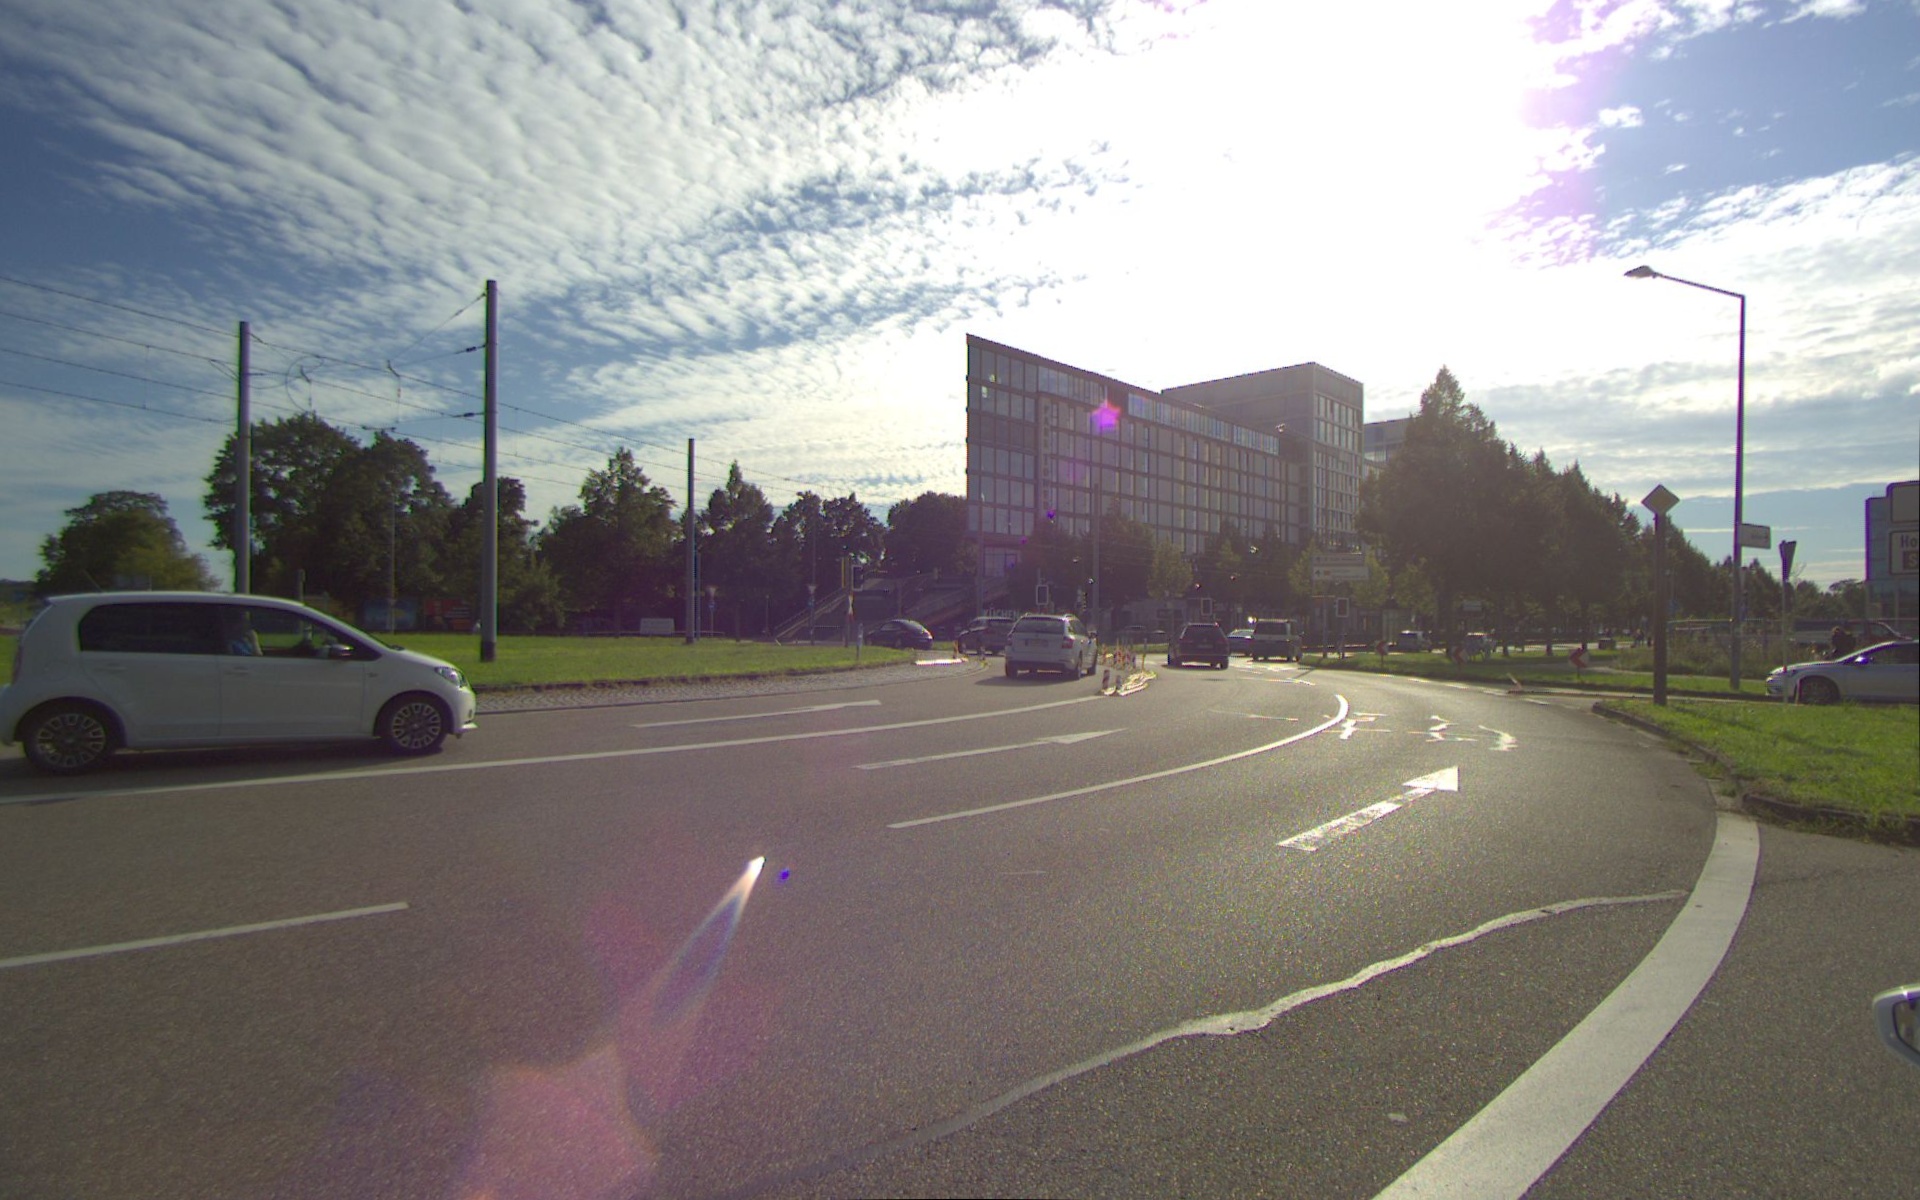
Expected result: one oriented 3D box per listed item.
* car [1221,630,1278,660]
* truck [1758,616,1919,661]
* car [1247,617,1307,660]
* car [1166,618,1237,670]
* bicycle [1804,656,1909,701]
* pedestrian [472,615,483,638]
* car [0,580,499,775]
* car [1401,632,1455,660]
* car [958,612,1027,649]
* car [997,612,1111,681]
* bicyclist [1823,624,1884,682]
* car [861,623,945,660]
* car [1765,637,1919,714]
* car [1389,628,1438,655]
[{"bbox_3d":[15.913,2.445,55.096,1.868,1.450,4.651,1,0,31],"label":"car"},{"bbox_3d":[55.590,2.382,63.596,7.750,2.601,3.057,0,-1,43],"label":"truck"},{"bbox_3d":[15.559,1.823,49.137,1.868,1.928,4.652,1,0,29],"label":"car"},{"bbox_3d":[8.292,1.467,34.873,1.959,1.587,4.848,2,-1,9],"label":"car"},{"bbox_3d":[23.844,2.064,26.779,0.692,1.077,2.203,0,-1,-6],"label":"bicycle"},{"bbox_3d":[-35.081,1.931,72.971,0.497,1.646,0.546,0,-1,35],"label":"pedestrian"},{"bbox_3d":[-6.393,0.640,9.291,3.622,1.483,1.750,2,-1,-34],"label":"car"},{"bbox_3d":[29.509,2.873,63.280,1.874,1.632,4.638,0,-1,41],"label":"car"},{"bbox_3d":[1.297,1.267,42.111,1.807,1.450,3.988,1,-1,-15],"label":"car"},{"bbox_3d":[2.384,1.083,24.355,1.819,1.464,4.640,1,-1,17],"label":"car"},{"bbox_3d":[23.846,1.400,26.833,0.691,1.531,1.010,0,-1,-5],"label":"bicyclist"},{"bbox_3d":[-2.828,2.024,49.683,3.944,1.562,1.988,2,2,43],"label":"car"},{"bbox_3d":[19.321,1.534,20.535,4.473,1.471,1.815,0,-1,39],"label":"car"},{"bbox_3d":[34.062,3.061,75.355,1.876,1.928,4.632,0,-1,44],"label":"car"}]
